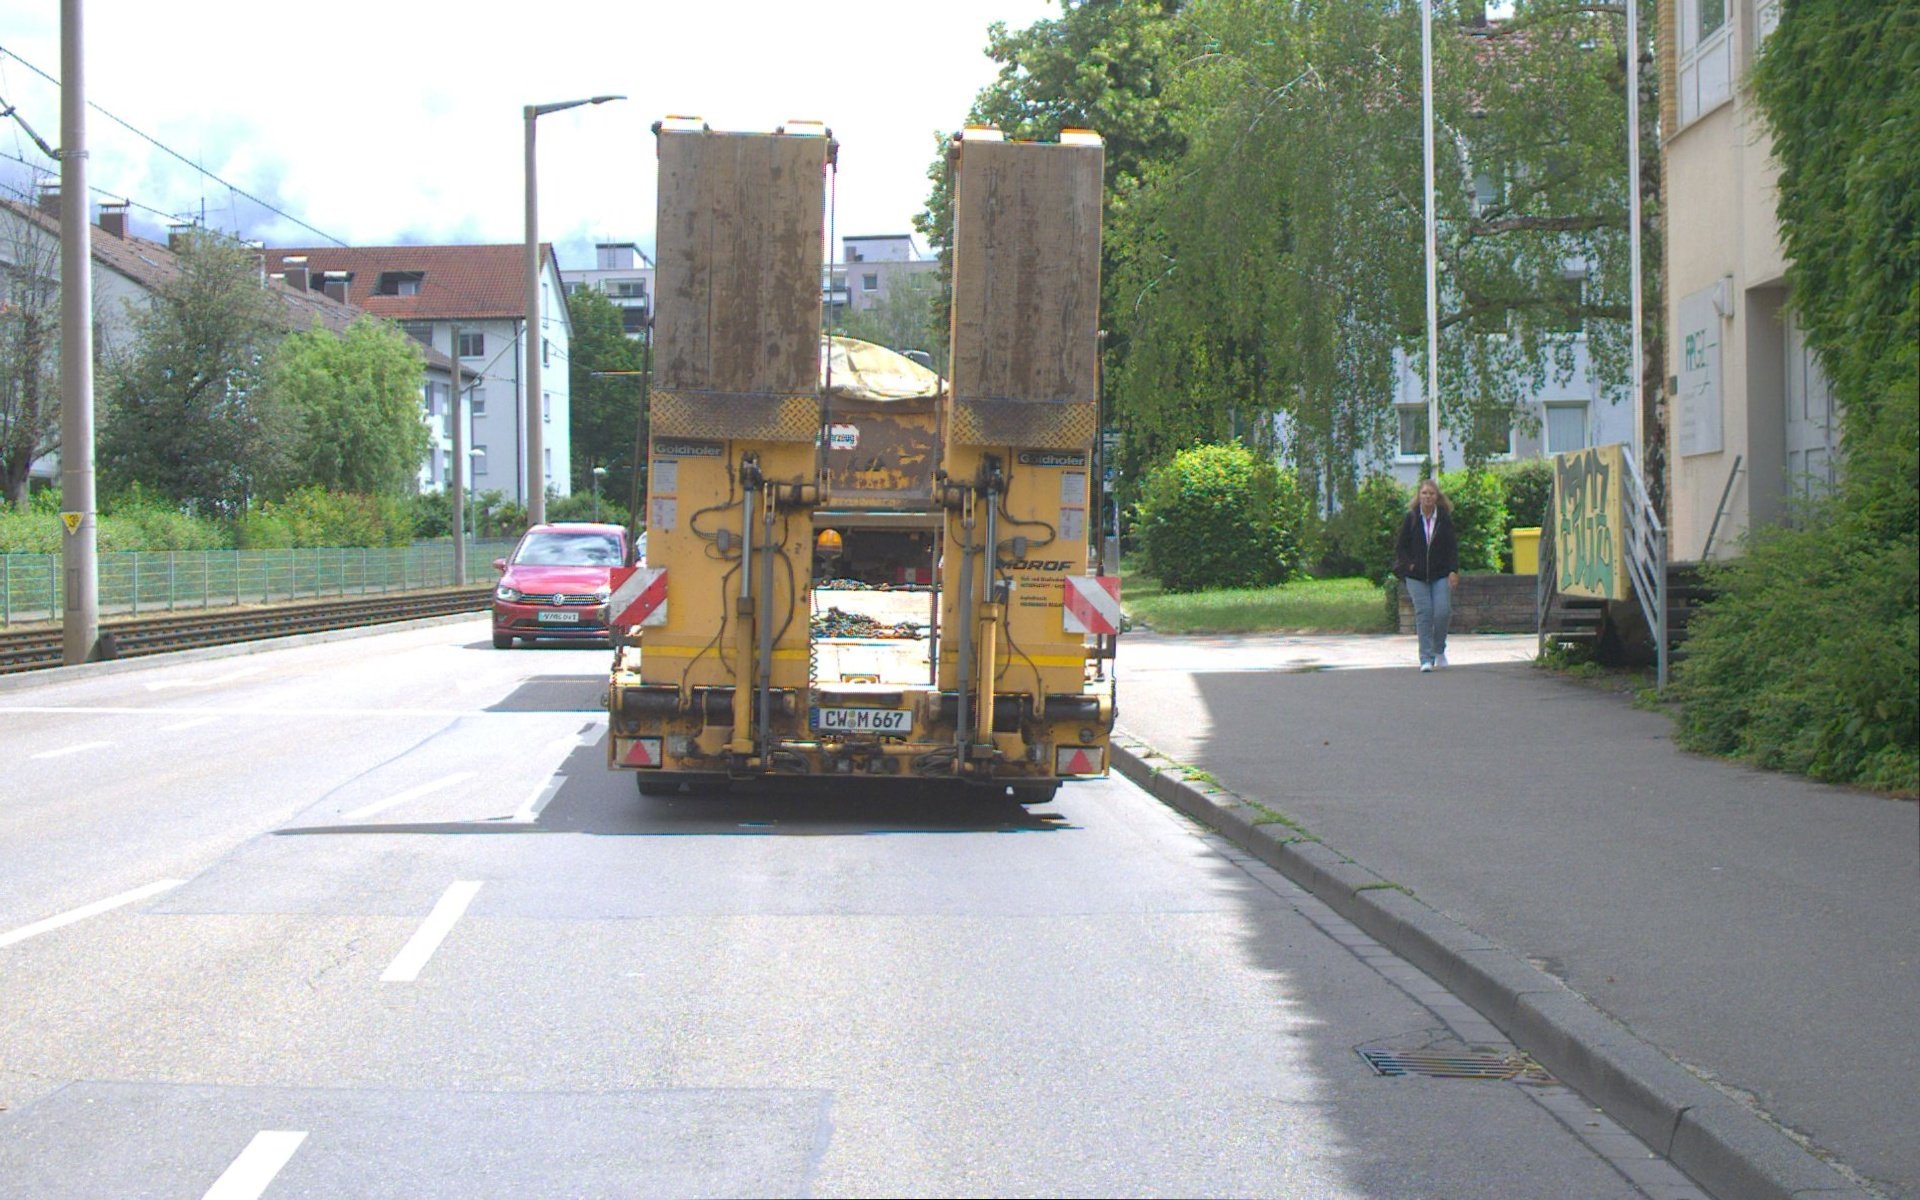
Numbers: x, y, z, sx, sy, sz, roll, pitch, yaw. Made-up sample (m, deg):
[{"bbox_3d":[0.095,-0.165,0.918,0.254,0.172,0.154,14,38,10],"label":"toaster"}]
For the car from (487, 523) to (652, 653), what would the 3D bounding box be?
[{"bbox_3d":[-4.943,-0.179,43.920,1.663,1.546,4.000,1,1,0],"label":"car"}]

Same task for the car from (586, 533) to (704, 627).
[{"bbox_3d":[-5.391,-0.360,59.228,1.760,1.546,4.000,0,1,-2],"label":"car"}]

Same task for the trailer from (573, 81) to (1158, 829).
[{"bbox_3d":[-0.895,-0.808,23.124,2.827,3.633,12.356,1,1,-4],"label":"trailer"}]

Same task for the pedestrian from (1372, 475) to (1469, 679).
[{"bbox_3d":[4.067,-0.210,30.411,0.809,1.765,0.816,1,1,7],"label":"pedestrian"}]
